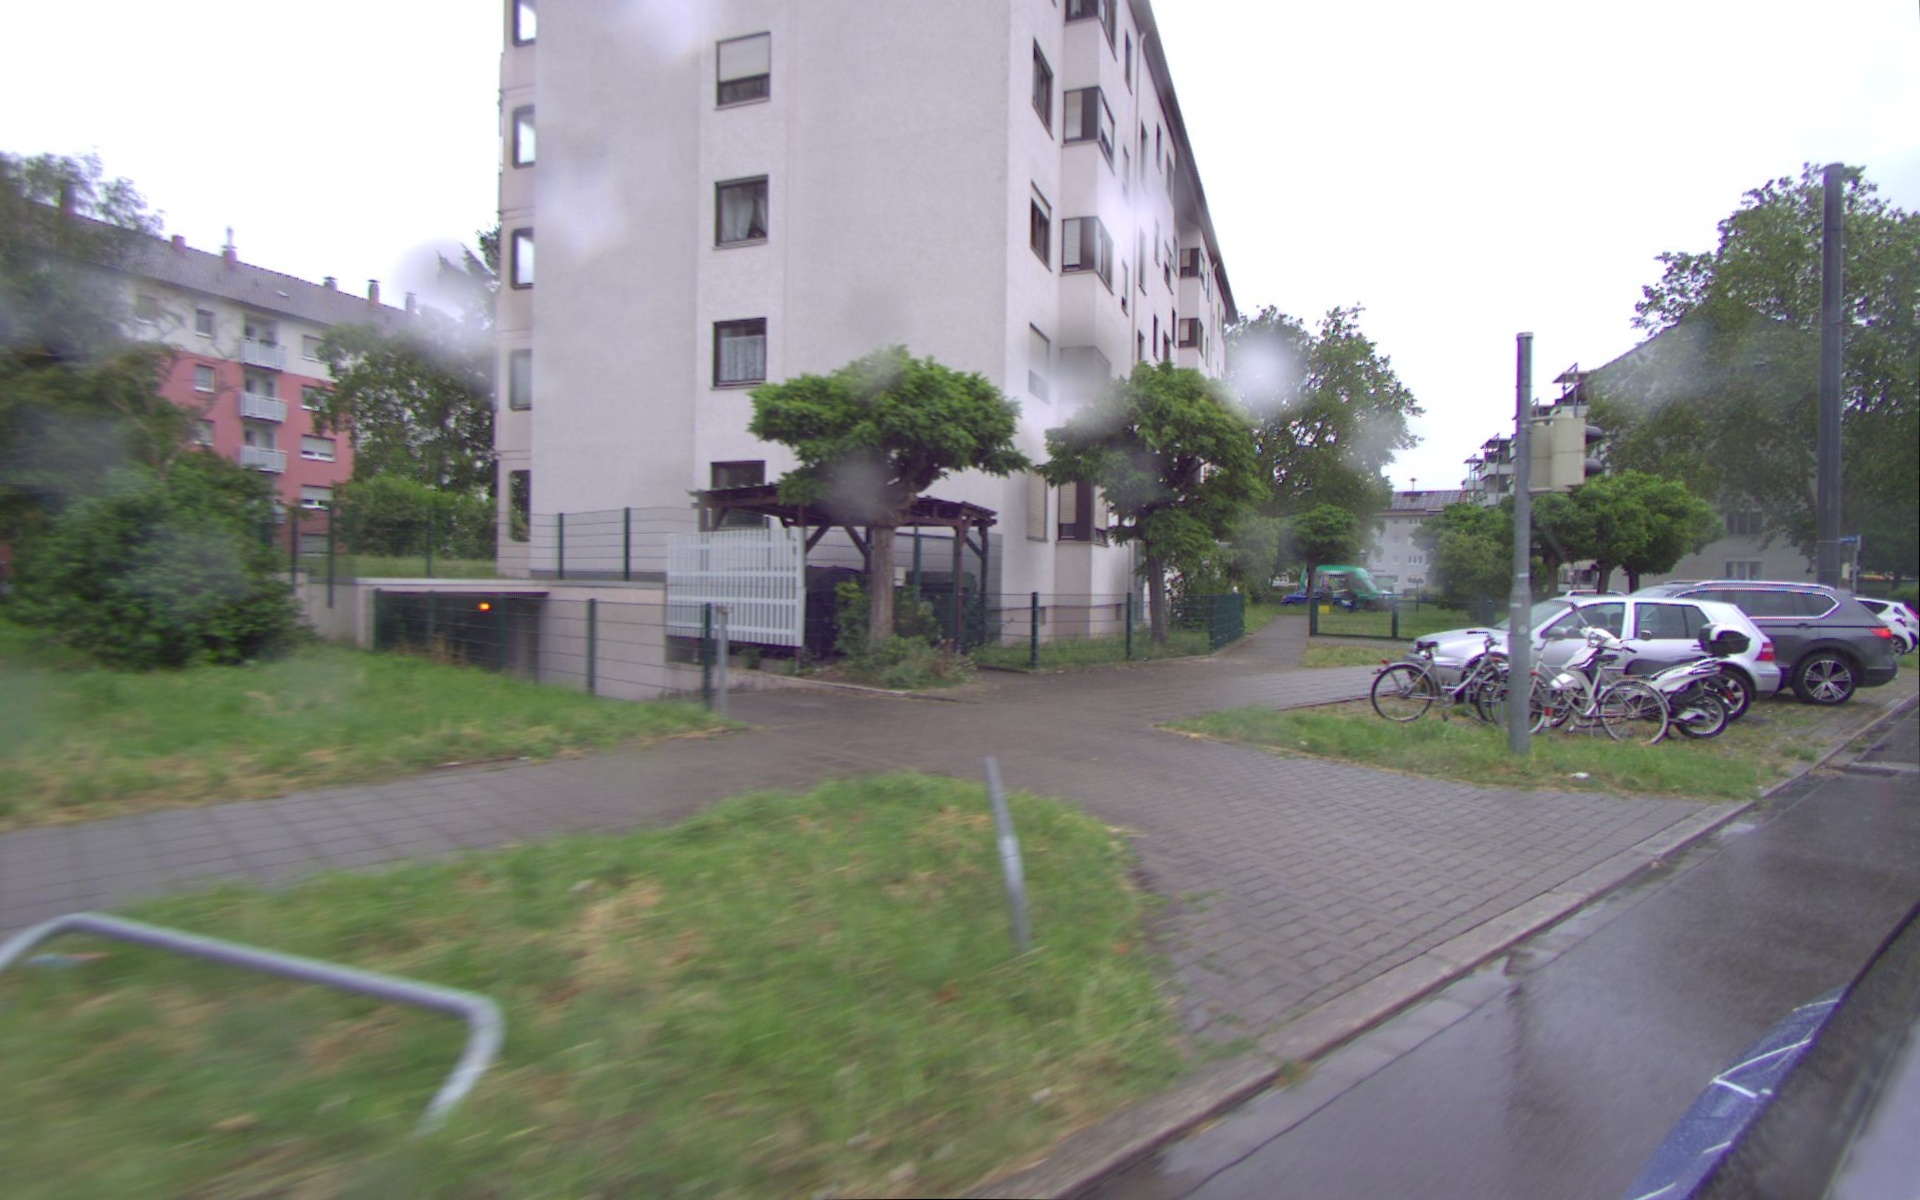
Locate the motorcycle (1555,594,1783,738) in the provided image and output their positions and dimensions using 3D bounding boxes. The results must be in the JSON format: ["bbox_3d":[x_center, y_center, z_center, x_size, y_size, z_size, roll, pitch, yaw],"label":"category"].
[{"bbox_3d":[7.313,0.649,10.523,1.753,1.353,0.686,2,1,13],"label":"motorcycle"}]

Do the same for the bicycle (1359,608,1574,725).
[{"bbox_3d":[5.376,0.691,10.824,1.921,1.115,0.629,2,1,4],"label":"bicycle"}]

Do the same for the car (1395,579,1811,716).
[{"bbox_3d":[7.923,0.516,12.903,4.064,1.440,1.732,2,2,13],"label":"car"}]

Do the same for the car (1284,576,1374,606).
[{"bbox_3d":[20.455,-0.548,56.257,1.903,1.524,4.304,0,2,-39],"label":"car"}]

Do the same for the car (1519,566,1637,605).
[{"bbox_3d":[28.667,-0.706,47.018,1.838,1.701,4.304,0,2,-39],"label":"car"}]

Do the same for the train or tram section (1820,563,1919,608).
[{"bbox_3d":[71.461,-1.172,79.343,2.707,3.381,6.397,1,2,3],"label":"train or tram section"}]

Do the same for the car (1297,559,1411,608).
[{"bbox_3d":[23.622,-1.021,60.984,2.148,2.813,6.134,0,1,-39],"label":"car"}]

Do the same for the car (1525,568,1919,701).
[{"bbox_3d":[10.967,0.421,14.876,4.290,1.671,1.848,2,1,17],"label":"car"}]

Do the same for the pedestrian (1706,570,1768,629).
[{"bbox_3d":[24.800,-0.038,32.315,1.405,1.836,1.104,0,1,-31],"label":"pedestrian"}]

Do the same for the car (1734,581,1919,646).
[{"bbox_3d":[23.917,0.339,27.634,3.940,1.526,1.778,2,3,14],"label":"car"}]

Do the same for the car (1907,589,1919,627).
[{"bbox_3d":[41.101,0.351,40.849,4.041,1.528,1.855,0,1,-1],"label":"car"}]

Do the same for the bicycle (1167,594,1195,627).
[{"bbox_3d":[6.226,0.293,28.421,0.485,0.858,1.560,2,2,23],"label":"bicycle"}]

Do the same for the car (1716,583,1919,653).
[{"bbox_3d":[21.697,0.428,25.387,3.936,1.526,1.702,1,3,10],"label":"car"}]

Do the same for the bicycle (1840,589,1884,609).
[{"bbox_3d":[52.689,-0.068,59.144,1.841,1.156,0.529,1,0,24],"label":"bicycle"}]
